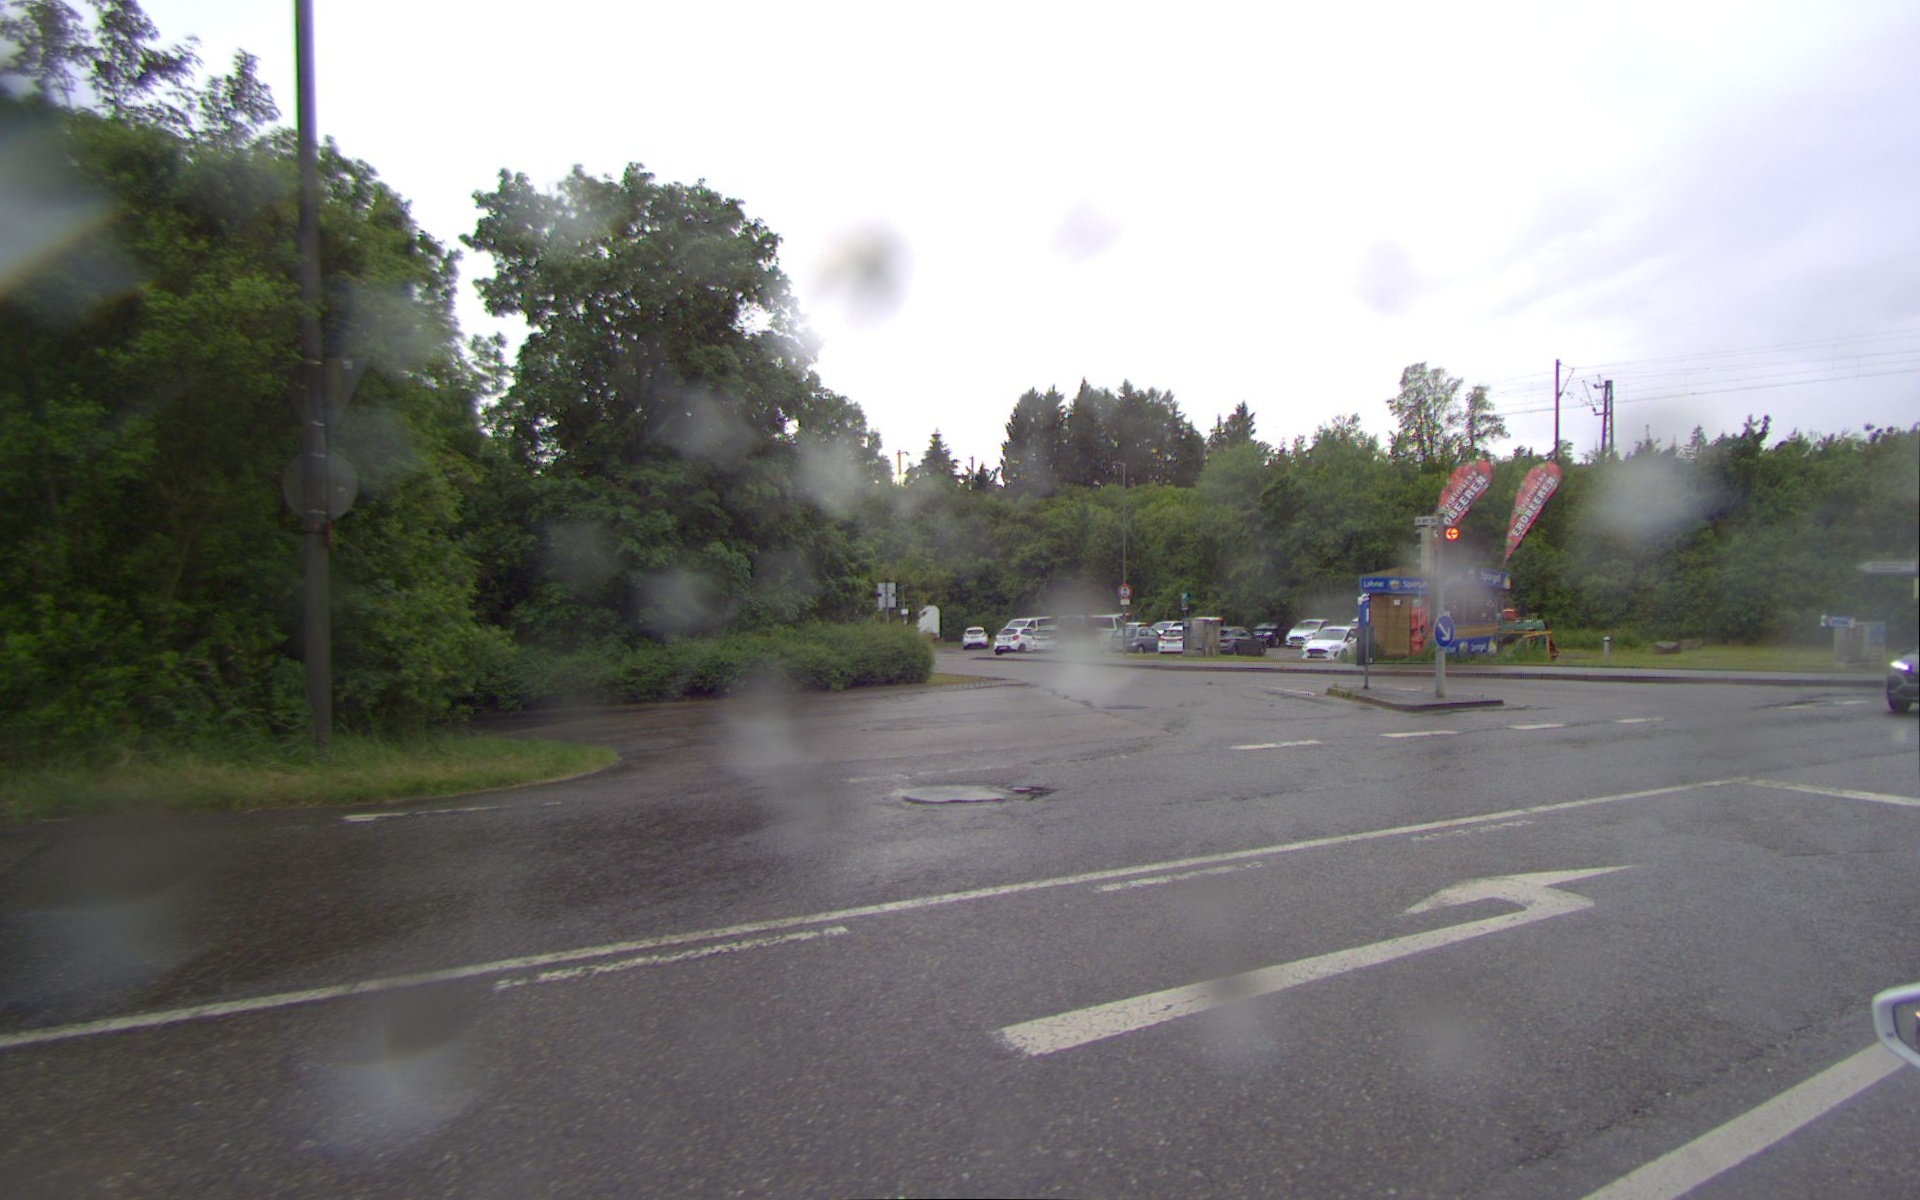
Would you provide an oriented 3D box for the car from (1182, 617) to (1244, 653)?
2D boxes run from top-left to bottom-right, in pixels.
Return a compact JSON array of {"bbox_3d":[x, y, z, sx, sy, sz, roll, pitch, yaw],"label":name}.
[{"bbox_3d":[14.878,2.030,58.973,1.916,2.040,3.846,1,-1,43],"label":"car"}]

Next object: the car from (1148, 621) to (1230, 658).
[{"bbox_3d":[10.839,1.871,47.455,3.880,1.606,1.918,3,-2,-43],"label":"car"}]

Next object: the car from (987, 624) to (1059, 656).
[{"bbox_3d":[3.441,2.181,54.280,1.813,1.606,3.979,1,-2,42],"label":"car"}]

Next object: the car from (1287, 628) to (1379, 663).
[{"bbox_3d":[15.863,1.928,42.582,4.869,1.358,1.636,3,-2,-43],"label":"car"}]

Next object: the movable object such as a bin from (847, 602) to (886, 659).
[{"bbox_3d":[-5.404,1.755,58.137,1.765,3.192,1.304,1,-1,28],"label":"movable object such as a bin"}]

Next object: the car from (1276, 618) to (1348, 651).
[{"bbox_3d":[18.704,1.847,53.335,3.972,1.606,1.975,3,-2,-43],"label":"car"}]

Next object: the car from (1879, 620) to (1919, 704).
[{"bbox_3d":[18.998,1.140,18.779,3.954,1.489,1.631,1,-1,-31],"label":"car"}]

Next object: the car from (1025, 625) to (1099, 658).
[{"bbox_3d":[5.358,2.182,52.385,1.834,1.606,3.979,1,-2,42],"label":"car"}]

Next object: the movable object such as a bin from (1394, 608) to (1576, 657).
[{"bbox_3d":[20.165,1.234,38.913,5.663,1.649,2.753,1,-1,10],"label":"movable object such as a bin"}]

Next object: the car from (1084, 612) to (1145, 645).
[{"bbox_3d":[9.891,1.834,64.264,1.972,2.040,3.976,0,-1,44],"label":"car"}]

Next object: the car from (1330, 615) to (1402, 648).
[{"bbox_3d":[20.818,1.627,51.444,3.972,1.606,1.975,2,-2,-43],"label":"car"}]

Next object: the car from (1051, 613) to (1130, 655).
[{"bbox_3d":[6.582,1.725,50.452,1.971,1.974,3.979,1,-2,42],"label":"car"}]

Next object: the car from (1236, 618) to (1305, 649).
[{"bbox_3d":[17.159,1.843,55.430,3.972,1.606,1.975,3,-2,-43],"label":"car"}]

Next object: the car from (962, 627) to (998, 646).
[{"bbox_3d":[1.404,2.501,69.236,1.609,1.248,4.003,2,-1,14],"label":"car"}]

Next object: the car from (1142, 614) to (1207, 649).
[{"bbox_3d":[13.006,1.922,60.853,3.973,2.040,1.974,2,-2,-44],"label":"car"}]

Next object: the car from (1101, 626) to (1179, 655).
[{"bbox_3d":[8.845,1.983,49.204,3.972,1.327,1.734,3,-2,-43],"label":"car"}]
